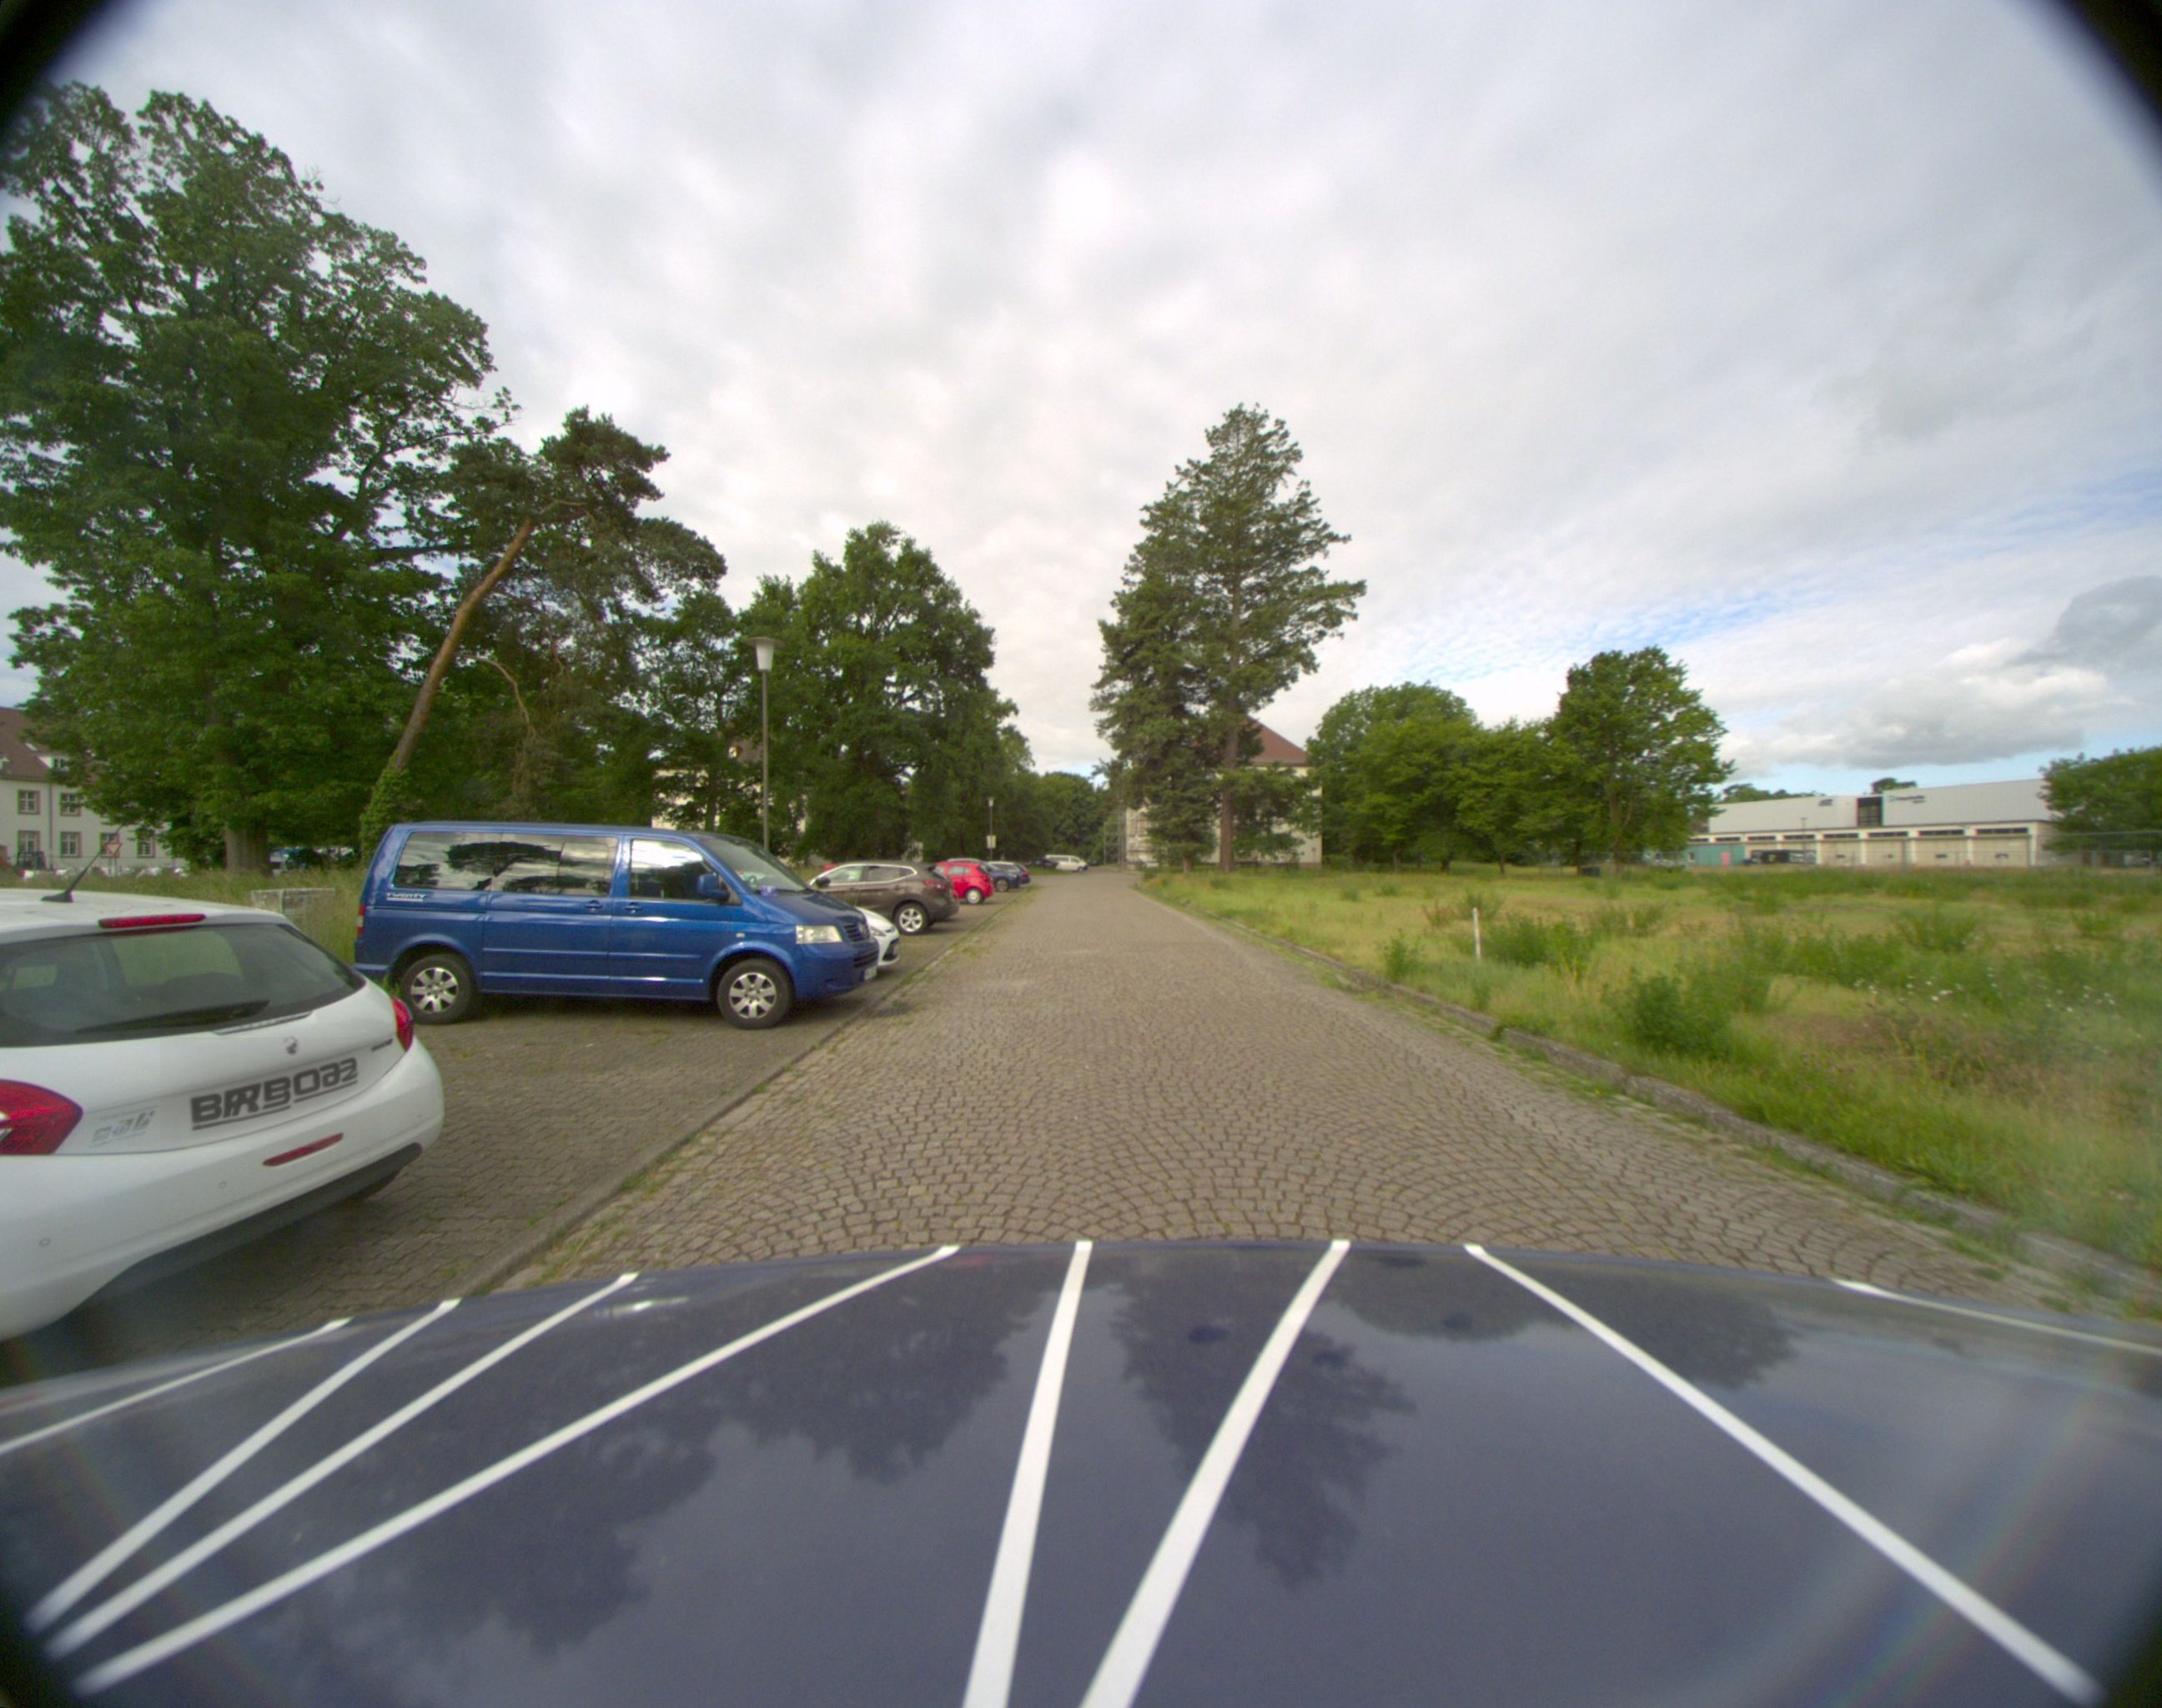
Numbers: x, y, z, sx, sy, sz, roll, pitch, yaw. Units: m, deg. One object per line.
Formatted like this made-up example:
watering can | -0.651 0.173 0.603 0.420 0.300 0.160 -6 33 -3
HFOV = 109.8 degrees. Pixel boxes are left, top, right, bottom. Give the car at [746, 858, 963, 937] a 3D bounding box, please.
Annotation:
car | -4.890 0.919 16.867 4.271 1.589 1.821 1 0 -2

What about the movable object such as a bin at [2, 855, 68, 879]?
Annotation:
movable object such as a bin | -90.731 1.085 65.973 1.553 2.002 2.985 0 0 0

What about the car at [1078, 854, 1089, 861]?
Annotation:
car | 0.433 0.761 157.316 1.870 1.408 4.694 1 0 -5

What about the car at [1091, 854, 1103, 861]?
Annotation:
car | 3.315 0.703 157.889 1.870 1.408 4.694 1 0 -5

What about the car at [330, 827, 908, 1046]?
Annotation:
car | -4.478 0.774 8.036 4.820 1.934 2.003 1 0 -2

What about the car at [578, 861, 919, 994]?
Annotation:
car | -4.417 0.947 10.602 3.873 1.463 1.841 3 0 -2

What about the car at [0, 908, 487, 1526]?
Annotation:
car | -4.762 0.997 2.725 3.872 1.463 1.758 1 0 1

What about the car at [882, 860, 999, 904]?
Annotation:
car | -4.967 0.966 27.144 3.895 1.451 1.582 1 0 -2

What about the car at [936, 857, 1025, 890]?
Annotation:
car | -4.896 0.934 37.387 4.150 1.529 1.582 1 0 -2

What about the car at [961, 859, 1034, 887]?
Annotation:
car | -4.584 1.044 42.050 3.878 1.417 1.582 1 0 -2

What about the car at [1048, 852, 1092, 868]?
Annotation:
car | -1.289 0.707 90.885 5.141 1.860 1.723 1 0 -2

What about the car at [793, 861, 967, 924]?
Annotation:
car | -5.082 0.958 19.593 4.016 1.477 1.765 1 0 0
